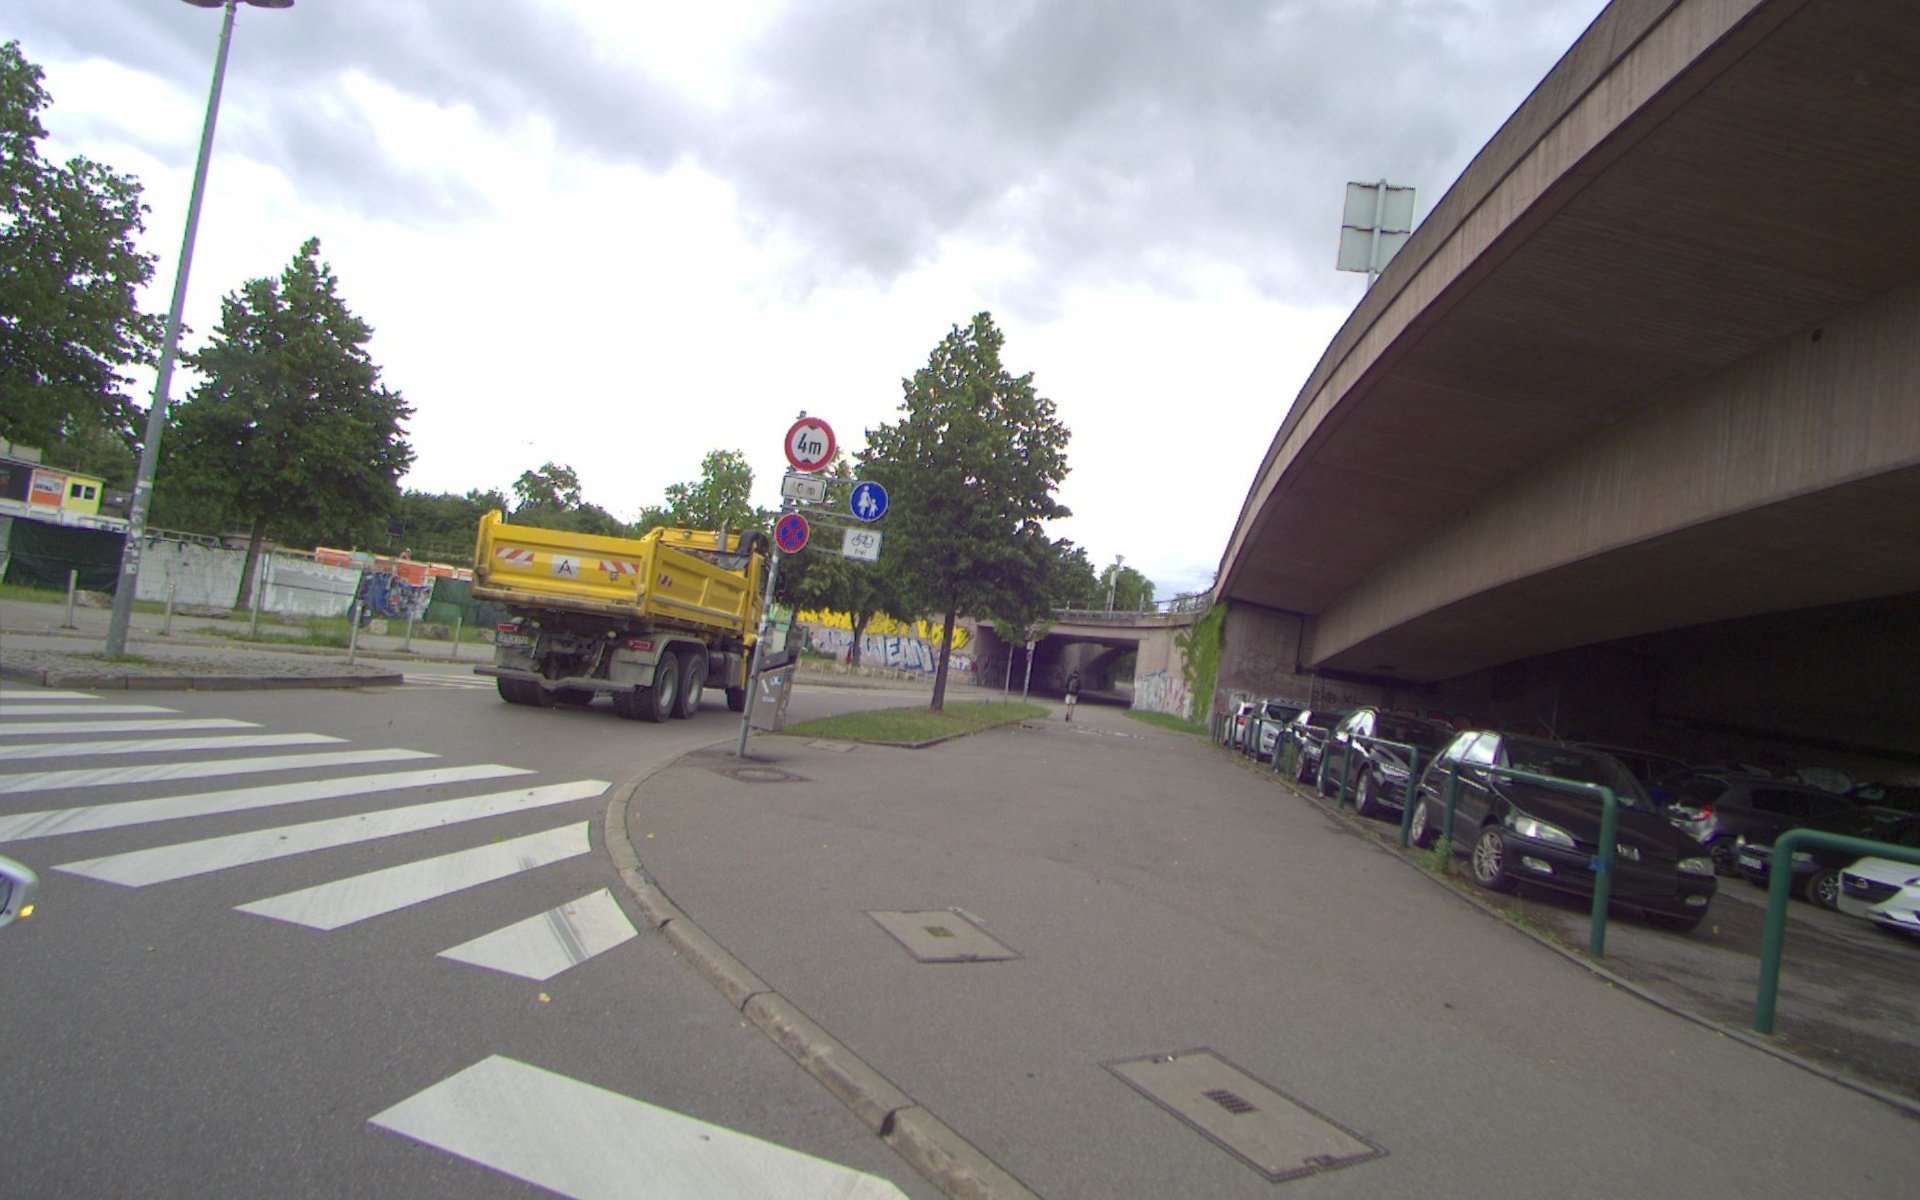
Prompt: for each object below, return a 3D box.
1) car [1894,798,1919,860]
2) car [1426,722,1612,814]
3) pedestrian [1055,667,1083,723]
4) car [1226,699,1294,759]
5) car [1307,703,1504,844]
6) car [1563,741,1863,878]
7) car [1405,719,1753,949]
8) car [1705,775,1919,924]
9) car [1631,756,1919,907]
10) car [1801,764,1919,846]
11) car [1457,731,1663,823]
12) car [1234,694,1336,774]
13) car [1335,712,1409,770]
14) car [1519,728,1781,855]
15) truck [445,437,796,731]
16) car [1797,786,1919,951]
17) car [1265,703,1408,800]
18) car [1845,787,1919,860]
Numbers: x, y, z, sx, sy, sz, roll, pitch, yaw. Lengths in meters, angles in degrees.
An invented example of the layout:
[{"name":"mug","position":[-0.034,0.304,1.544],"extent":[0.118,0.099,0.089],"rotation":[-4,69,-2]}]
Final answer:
[{"name":"car","position":[25.626,5.979,24.600],"extent":[3.593,1.443,1.682],"rotation":[8,-2,13]},{"name":"car","position":[14.712,4.398,26.654],"extent":[3.789,1.656,1.761],"rotation":[8,-2,7]},{"name":"pedestrian","position":[4.006,3.492,36.969],"extent":[0.723,1.928,0.827],"rotation":[7,-2,10]},{"name":"car","position":[9.106,3.889,30.696],"extent":[1.549,1.455,3.384],"rotation":[8,-3,13]},{"name":"car","position":[6.201,2.341,14.475],"extent":[1.482,1.435,4.258],"rotation":[9,-3,12]},{"name":"car","position":[13.278,3.671,17.960],"extent":[3.789,1.572,1.761],"rotation":[8,-2,7]},{"name":"car","position":[5.463,1.965,9.423],"extent":[1.482,1.343,3.707],"rotation":[10,-3,13]},{"name":"car","position":[12.694,3.491,13.578],"extent":[3.789,1.459,1.701],"rotation":[8,-2,7]},{"name":"car","position":[13.016,3.581,15.647],"extent":[3.789,1.572,1.701],"rotation":[8,-2,7]},{"name":"car","position":[26.902,5.996,28.890],"extent":[3.593,1.808,1.887],"rotation":[8,-2,13]},{"name":"car","position":[14.487,4.257,24.483],"extent":[3.789,1.454,1.761],"rotation":[8,-2,7]},{"name":"car","position":[8.072,3.279,25.322],"extent":[1.586,1.552,4.077],"rotation":[8,-3,9]},{"name":"car","position":[13.541,4.599,33.256],"extent":[1.717,1.515,4.007],"rotation":[7,-3,17]},{"name":"car","position":[13.647,3.752,20.096],"extent":[3.789,1.713,1.761],"rotation":[8,-2,7]},{"name":"truck","position":[-5.318,0.037,17.789],"extent":[2.715,3.738,7.893],"rotation":[7,-3,3]},{"name":"car","position":[11.987,3.222,11.104],"extent":[3.789,1.526,1.701],"rotation":[8,-2,7]},{"name":"car","position":[7.131,2.822,19.477],"extent":[1.738,1.335,4.383],"rotation":[8,-3,12]},{"name":"car","position":[26.173,6.149,26.649],"extent":[3.593,1.616,1.682],"rotation":[8,-2,13]}]
